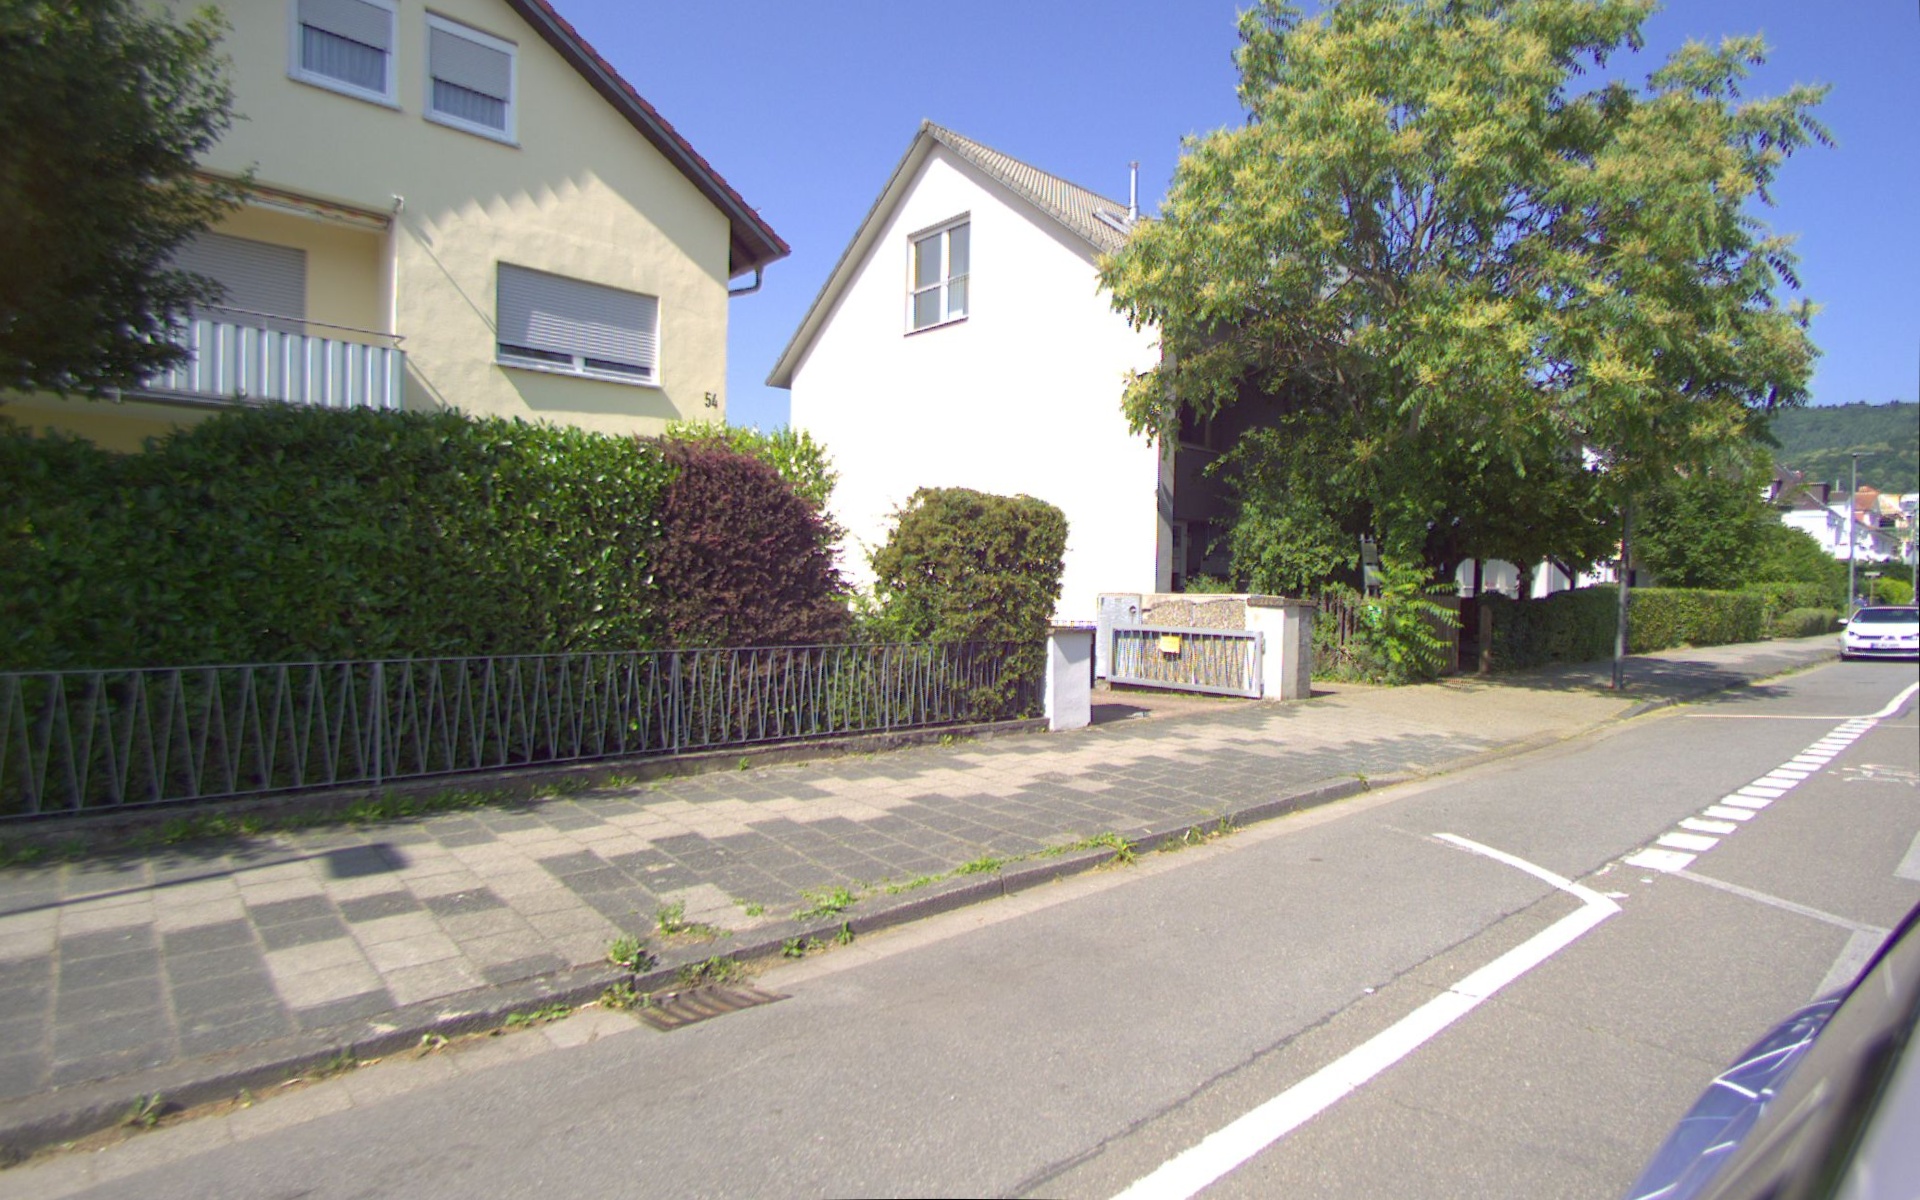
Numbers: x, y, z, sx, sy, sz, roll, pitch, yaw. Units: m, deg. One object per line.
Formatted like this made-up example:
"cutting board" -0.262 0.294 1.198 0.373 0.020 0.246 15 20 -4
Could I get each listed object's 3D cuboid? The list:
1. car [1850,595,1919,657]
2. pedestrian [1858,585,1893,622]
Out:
"car" 23.566 0.604 25.180 4.005 1.420 1.742 -1 0 -43
"pedestrian" 48.002 0.181 53.073 0.889 1.895 1.183 1 1 15
